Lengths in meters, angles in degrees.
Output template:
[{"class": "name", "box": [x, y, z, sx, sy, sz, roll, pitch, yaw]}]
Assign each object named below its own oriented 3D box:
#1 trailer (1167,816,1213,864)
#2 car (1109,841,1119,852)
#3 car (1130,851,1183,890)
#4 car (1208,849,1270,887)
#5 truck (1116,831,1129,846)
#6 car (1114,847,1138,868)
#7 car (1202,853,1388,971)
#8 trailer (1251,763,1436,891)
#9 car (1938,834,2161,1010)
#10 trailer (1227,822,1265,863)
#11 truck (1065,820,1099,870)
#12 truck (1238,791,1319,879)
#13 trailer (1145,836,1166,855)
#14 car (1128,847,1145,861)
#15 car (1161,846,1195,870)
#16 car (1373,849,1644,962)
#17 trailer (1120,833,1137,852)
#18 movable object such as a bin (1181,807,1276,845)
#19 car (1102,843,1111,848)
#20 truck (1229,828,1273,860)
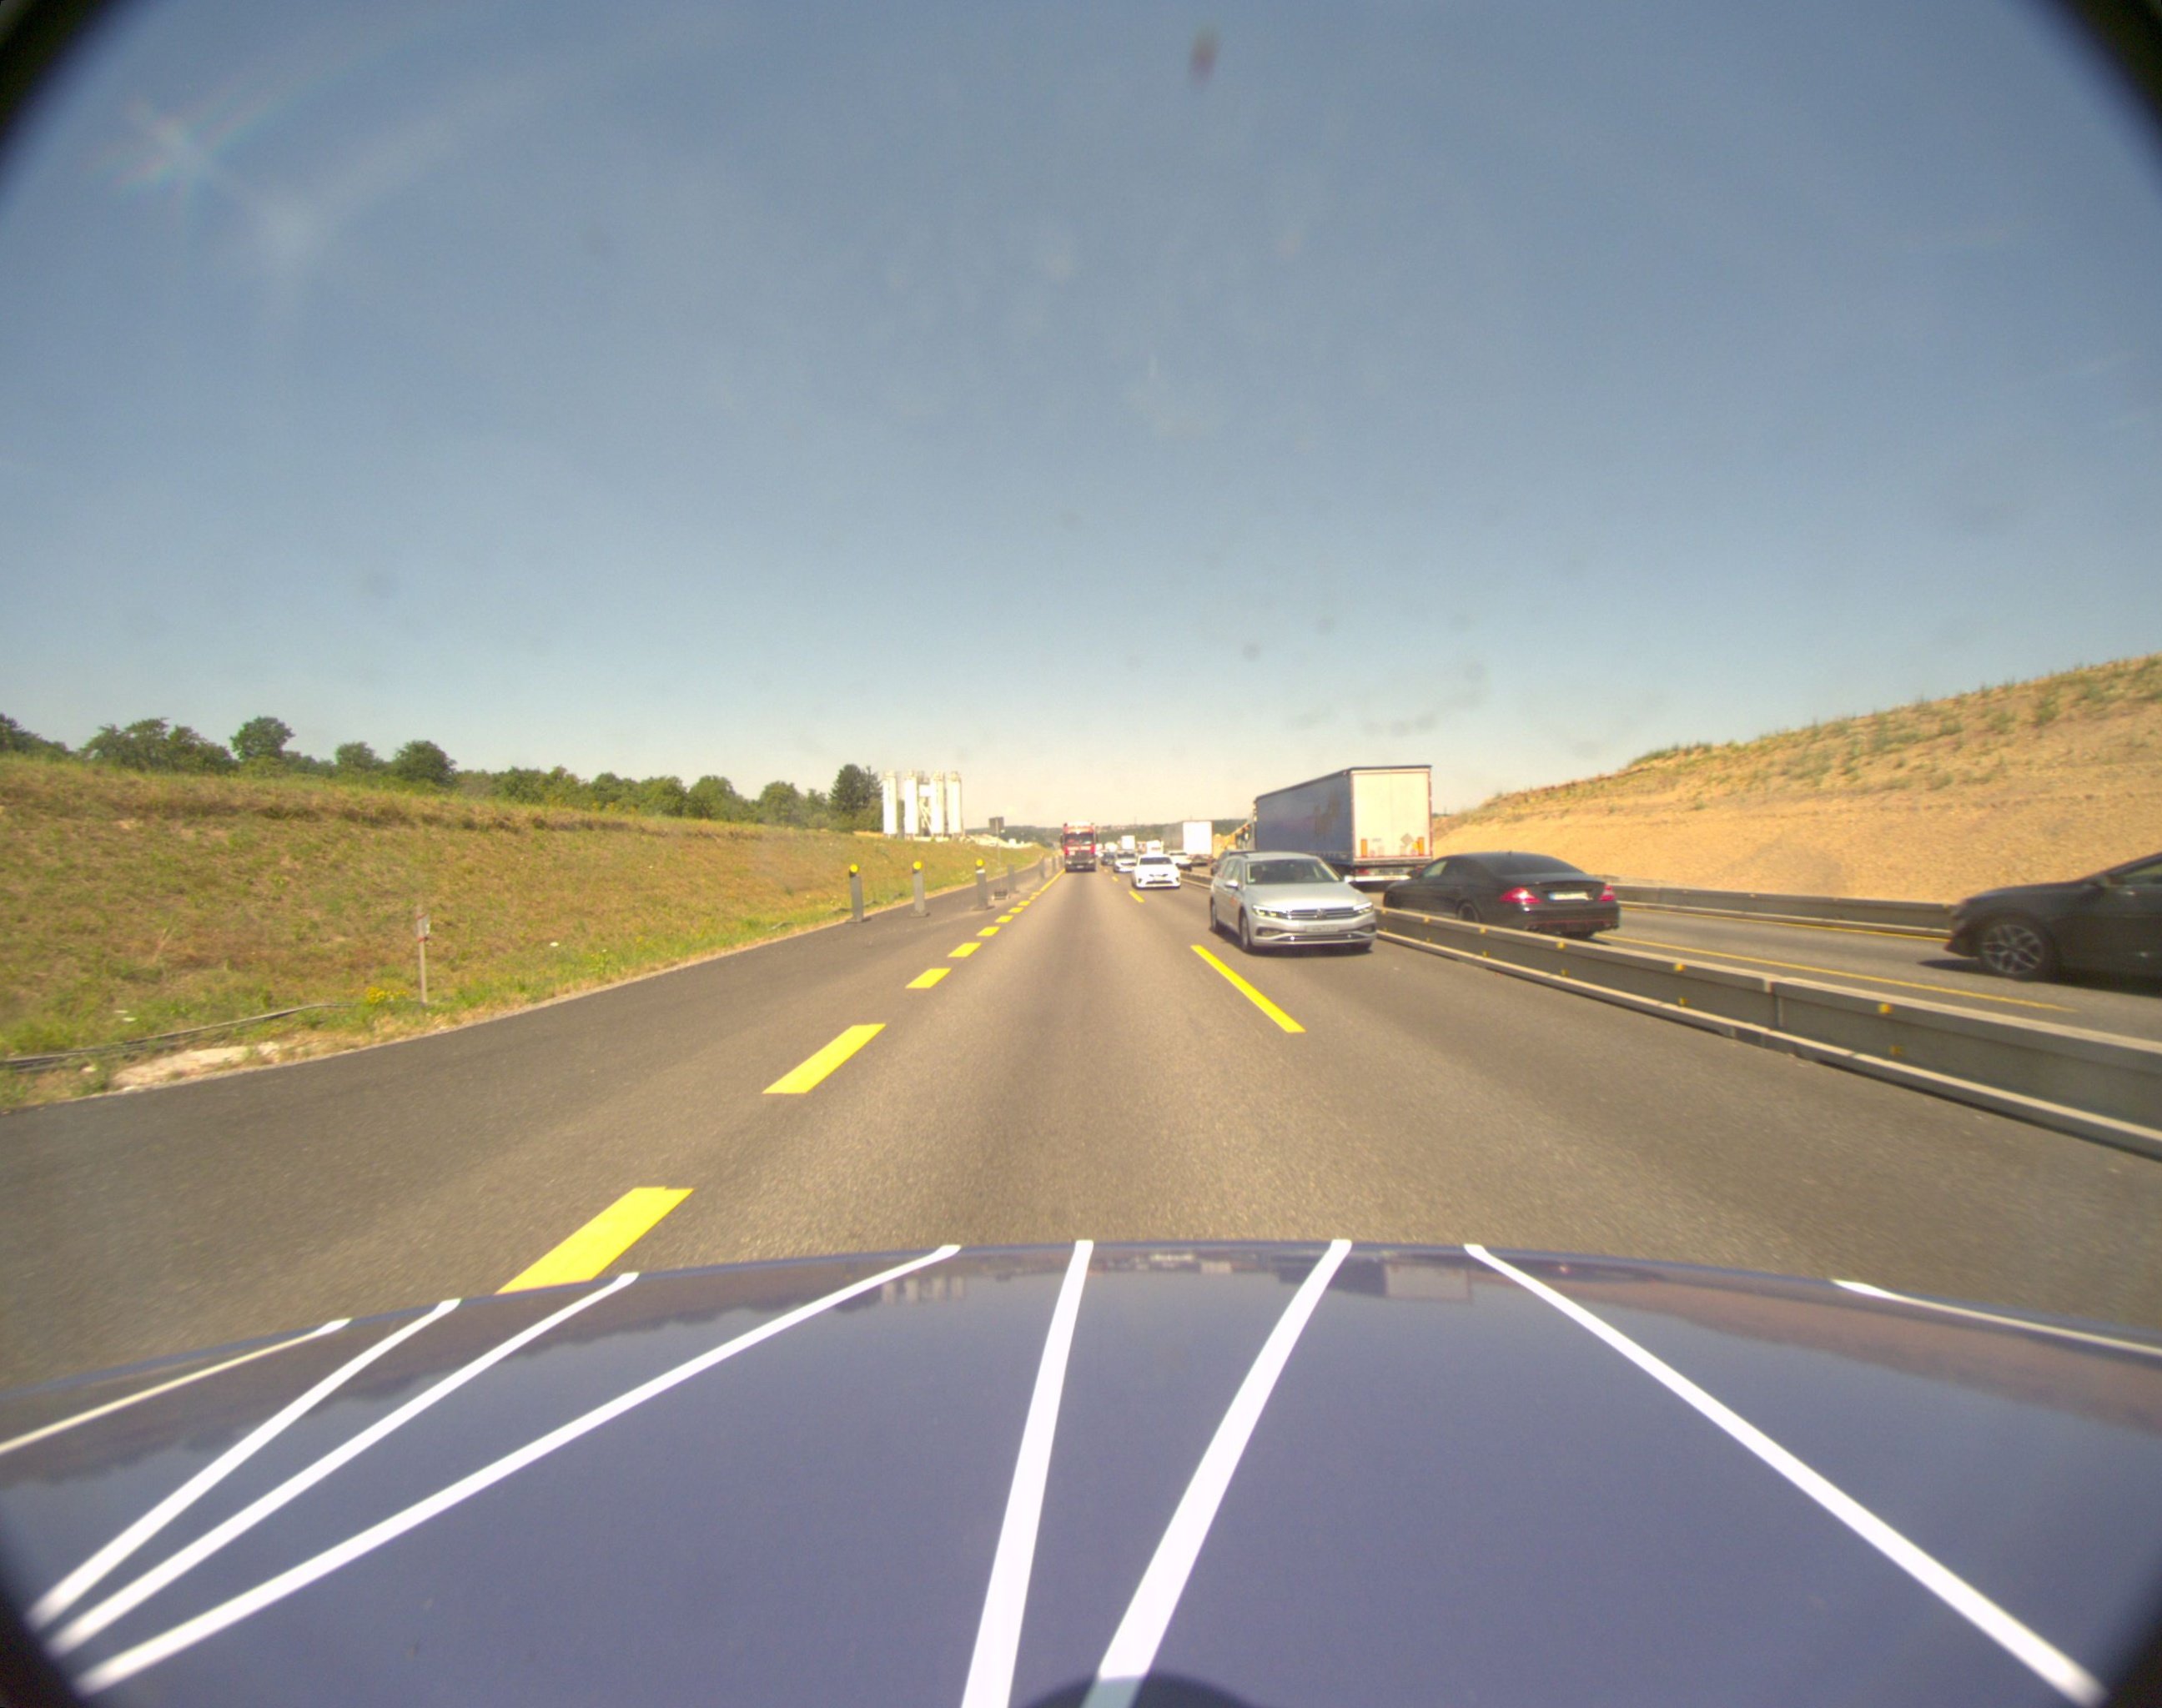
[{"class": "trailer", "box": [10.281, -1.296, 73.446, 2.508, 4.155, 15.532, 0, 1, 1]}, {"class": "car", "box": [7.490, -1.700, 171.708, 1.999, 2.279, 5.342, -2, 1, 0]}, {"class": "car", "box": [3.102, 0.655, 31.910, 1.875, 1.390, 4.029, -2, 1, 1]}, {"class": "car", "box": [6.653, 0.543, 32.419, 1.780, 1.546, 4.138, 0, 0, 0]}, {"class": "truck", "box": [10.796, -4.051, 197.354, 2.651, 3.695, 9.480, -2, 1, 1]}, {"class": "car", "box": [3.373, 0.250, 56.910, 1.601, 1.390, 3.695, -2, 1, 1]}, {"class": "car", "box": [3.184, 0.769, 12.204, 1.804, 1.499, 4.100, -2, 0, 0]}, {"class": "trailer", "box": [9.823, -0.900, 30.857, 2.660, 3.915, 13.994, -2, 1, 1]}, {"class": "car", "box": [9.904, 0.583, 5.806, 1.634, 1.416, 4.500, -2, 1, 0]}, {"class": "trailer", "box": [17.511, -1.273, 80.025, 2.794, 4.075, 8.379, -2, 1, 19]}, {"class": "truck", "box": [0.192, -0.825, 64.324, 2.537, 3.799, 9.479, -2, 1, 1]}, {"class": "truck", "box": [9.847, -0.916, 38.356, 2.598, 4.030, 5.149, -2, 1, 0]}, {"class": "trailer", "box": [10.527, -1.201, 108.148, 2.317, 2.671, 6.754, 0, 1, 0]}, {"class": "car", "box": [7.003, -0.029, 96.098, 1.693, 1.604, 4.592, -2, 1, 0]}, {"class": "car", "box": [6.850, 0.268, 53.974, 1.812, 1.480, 4.242, -2, 1, 0]}, {"class": "car", "box": [6.700, 0.682, 12.662, 1.733, 1.379, 4.859, -2, 1, 0]}, {"class": "trailer", "box": [10.528, -2.583, 169.996, 2.861, 4.070, 13.649, -1, 1, 0]}, {"class": "movable object such as a bin", "box": [29.454, -5.542, 152.314, 18.266, 6.734, 3.387, -2, 2, 0]}, {"class": "car", "box": [7.183, -2.343, 215.493, 1.863, 1.434, 4.498, -2, 1, -4]}, {"class": "truck", "box": [16.745, -0.989, 75.141, 2.587, 2.947, 5.057, -2, 1, -9]}]
